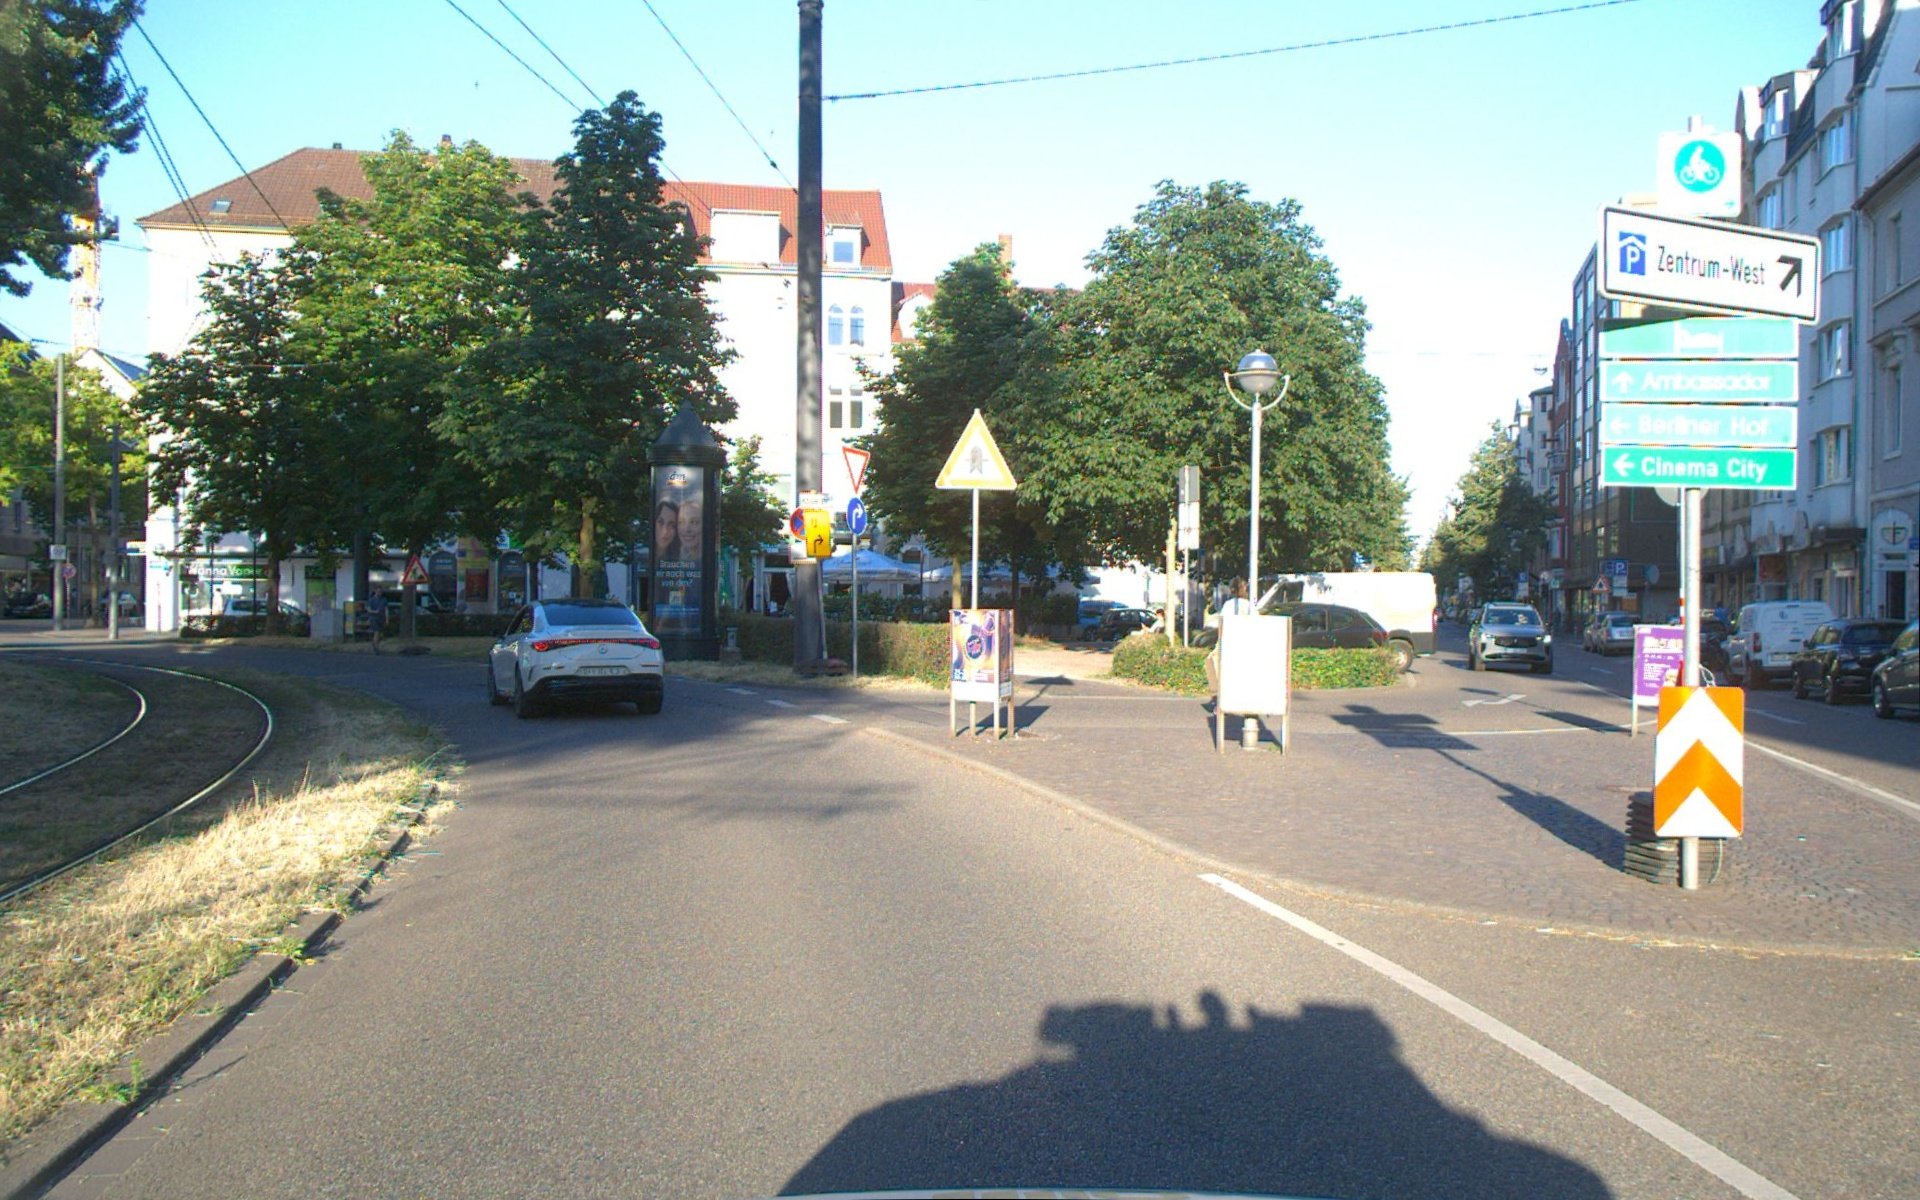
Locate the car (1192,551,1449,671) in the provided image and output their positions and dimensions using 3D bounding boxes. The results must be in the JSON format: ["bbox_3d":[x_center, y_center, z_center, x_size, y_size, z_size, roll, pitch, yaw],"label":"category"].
[{"bbox_3d":[8.313,0.269,38.322,5.414,2.640,2.148,1,0,-12],"label":"car"}]

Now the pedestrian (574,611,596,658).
[{"bbox_3d":[-12.412,1.130,54.720,0.523,1.524,0.660,1,0,2],"label":"pedestrian"}]

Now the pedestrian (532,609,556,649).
[{"bbox_3d":[-14.631,1.024,58.182,0.652,1.376,0.660,1,0,2],"label":"pedestrian"}]

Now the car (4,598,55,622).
[{"bbox_3d":[-58.811,0.627,104.603,1.626,1.502,3.617,1,0,-9],"label":"car"}]

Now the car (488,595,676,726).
[{"bbox_3d":[-5.092,0.709,21.877,1.839,1.466,4.170,-1,1,-21],"label":"car"}]

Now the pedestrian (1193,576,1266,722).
[{"bbox_3d":[3.303,0.584,20.321,0.841,1.736,0.942,1,0,8],"label":"pedestrian"}]

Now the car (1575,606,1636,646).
[{"bbox_3d":[25.611,1.007,65.719,1.714,1.537,3.548,-1,0,13],"label":"car"}]

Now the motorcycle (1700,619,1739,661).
[{"bbox_3d":[20.576,1.061,44.839,0.476,1.061,1.835,-2,0,10],"label":"motorcycle"}]

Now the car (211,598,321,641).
[{"bbox_3d":[-26.615,0.749,63.511,3.545,1.579,1.659,1,0,-8],"label":"car"}]

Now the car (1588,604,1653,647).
[{"bbox_3d":[24.621,0.944,61.751,1.714,1.537,3.548,-1,0,13],"label":"car"}]

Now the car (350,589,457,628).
[{"bbox_3d":[-23.221,0.338,69.157,3.912,1.579,1.996,1,0,-8],"label":"car"}]

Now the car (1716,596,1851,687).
[{"bbox_3d":[17.983,0.871,36.300,1.884,1.873,4.020,-1,0,15],"label":"car"}]

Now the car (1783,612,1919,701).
[{"bbox_3d":[16.411,0.995,30.209,1.697,1.488,3.588,-1,0,14],"label":"car"}]

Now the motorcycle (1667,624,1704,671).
[{"bbox_3d":[19.885,1.290,45.352,0.476,1.195,1.608,-2,0,7],"label":"motorcycle"}]

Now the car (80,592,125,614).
[{"bbox_3d":[-60.394,0.189,116.559,1.625,1.502,3.619,1,0,-7],"label":"car"}]

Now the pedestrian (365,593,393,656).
[{"bbox_3d":[-14.781,0.620,42.069,0.554,1.594,0.588,1,0,-31],"label":"pedestrian"}]

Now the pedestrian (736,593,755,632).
[{"bbox_3d":[-10.648,0.610,82.105,0.839,1.899,0.933,1,0,-12],"label":"pedestrian"}]

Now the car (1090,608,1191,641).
[{"bbox_3d":[7.569,1.041,69.521,3.912,1.324,1.849,1,0,-9],"label":"car"}]

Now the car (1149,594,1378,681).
[{"bbox_3d":[5.796,0.701,31.713,3.926,1.579,1.869,1,0,-19],"label":"car"}]

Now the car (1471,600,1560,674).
[{"bbox_3d":[14.597,0.919,43.643,1.951,1.803,4.003,1,1,15],"label":"car"}]

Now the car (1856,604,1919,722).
[{"bbox_3d":[14.665,0.891,24.275,1.697,1.645,3.919,-1,0,14],"label":"car"}]

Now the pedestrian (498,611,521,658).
[{"bbox_3d":[-15.009,1.144,55.106,0.523,1.524,0.660,1,0,2],"label":"pedestrian"}]

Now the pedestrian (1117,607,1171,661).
[{"bbox_3d":[4.432,0.821,39.854,1.078,1.248,0.858,1,0,-12],"label":"pedestrian"}]

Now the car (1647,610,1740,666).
[{"bbox_3d":[21.398,1.087,48.382,1.714,1.537,3.978,-1,0,13],"label":"car"}]

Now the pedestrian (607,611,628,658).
[{"bbox_3d":[-11.496,1.149,55.495,0.523,1.576,0.660,1,0,2],"label":"pedestrian"}]

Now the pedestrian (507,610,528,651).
[{"bbox_3d":[-15.188,1.039,56.770,0.523,1.403,0.660,1,0,2],"label":"pedestrian"}]

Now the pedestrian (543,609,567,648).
[{"bbox_3d":[-14.464,1.024,59.015,0.652,1.376,0.660,1,0,2],"label":"pedestrian"}]

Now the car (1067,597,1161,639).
[{"bbox_3d":[6.924,0.814,74.670,3.912,1.813,1.849,1,0,-9],"label":"car"}]
